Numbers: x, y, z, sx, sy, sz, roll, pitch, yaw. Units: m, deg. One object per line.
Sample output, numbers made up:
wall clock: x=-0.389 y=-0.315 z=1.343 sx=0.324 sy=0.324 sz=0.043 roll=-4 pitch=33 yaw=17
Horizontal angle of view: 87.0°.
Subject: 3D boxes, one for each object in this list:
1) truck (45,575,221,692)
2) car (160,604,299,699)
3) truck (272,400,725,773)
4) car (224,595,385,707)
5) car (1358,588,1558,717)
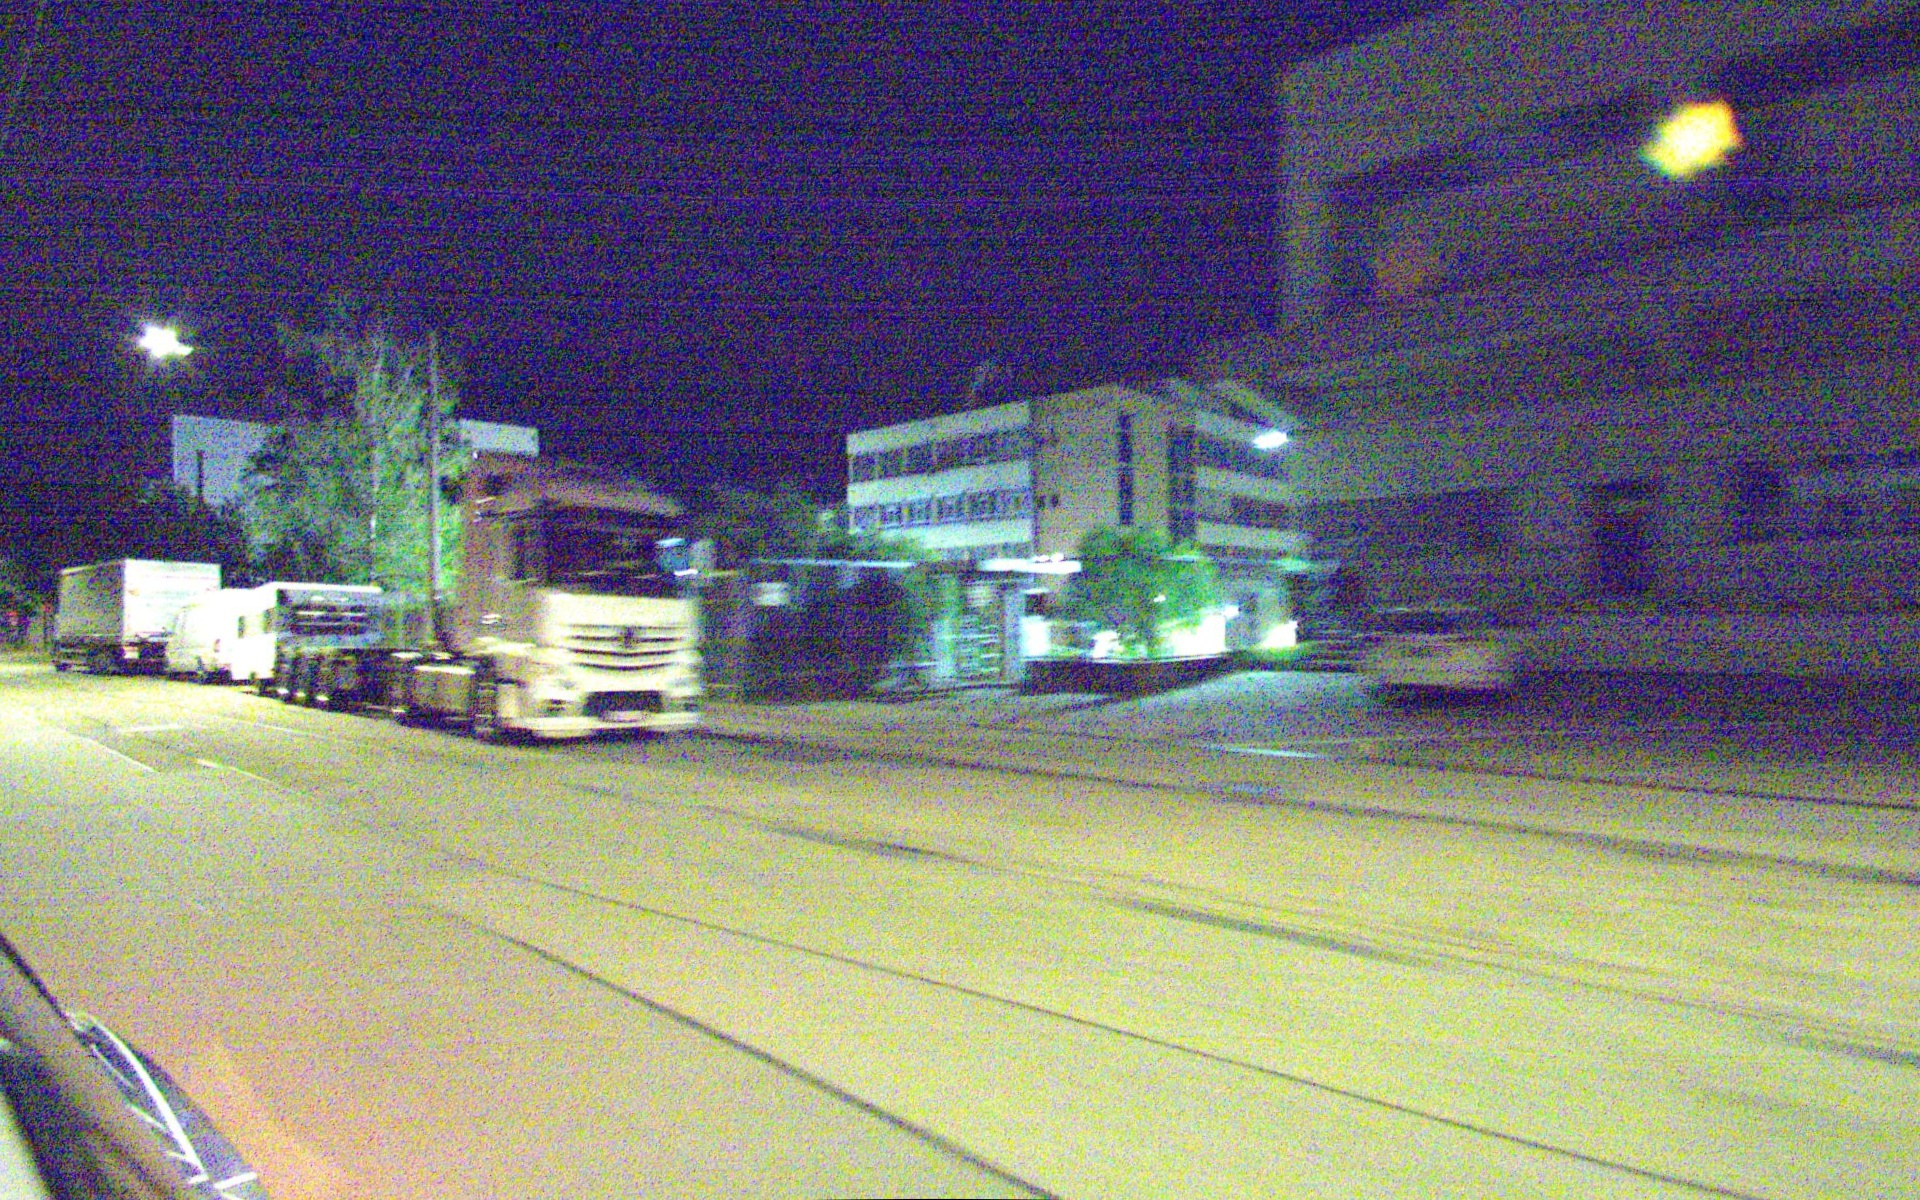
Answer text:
truck: x=-29.556 y=1.197 z=35.928 sx=10.389 sy=3.659 sz=2.794 roll=-2 pitch=-1 yaw=39
car: x=-20.987 y=1.437 z=28.955 sx=5.741 sy=2.462 sz=1.973 roll=-2 pitch=-1 yaw=41
truck: x=-8.651 y=-0.010 z=17.237 sx=2.608 sy=4.347 sz=12.830 roll=3 pitch=-3 yaw=-45
car: x=-15.162 y=1.124 z=23.313 sx=4.469 sy=2.330 sz=2.116 roll=-3 pitch=-1 yaw=44
car: x=7.563 y=0.690 z=15.167 sx=1.804 sy=1.474 sz=3.948 roll=-2 pitch=2 yaw=39
